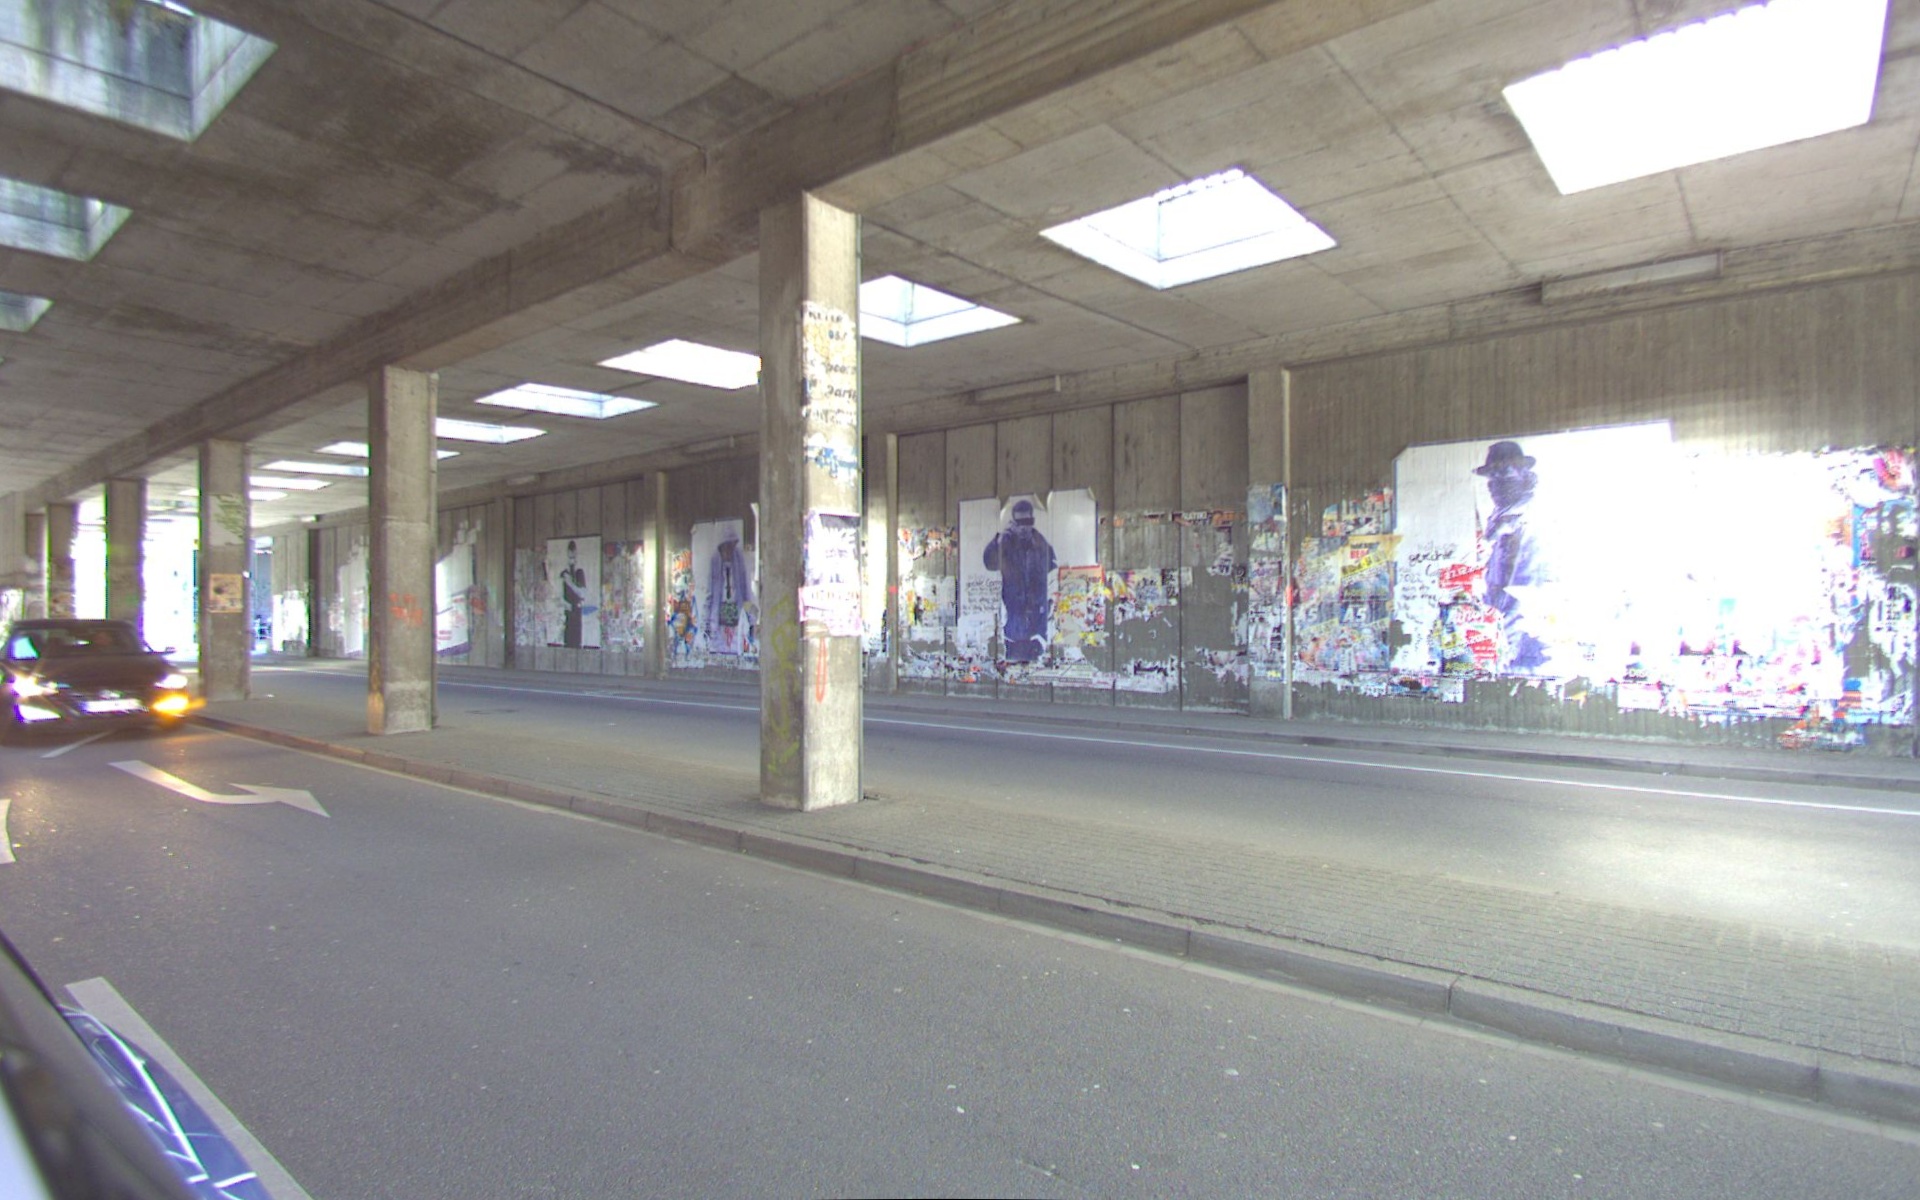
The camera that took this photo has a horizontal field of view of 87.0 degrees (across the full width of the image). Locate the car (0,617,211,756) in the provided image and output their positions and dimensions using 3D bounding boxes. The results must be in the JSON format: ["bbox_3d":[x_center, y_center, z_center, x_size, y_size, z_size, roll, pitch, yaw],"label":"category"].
[{"bbox_3d":[-11.312,0.987,13.030,4.175,1.458,1.762,-1,0,40],"label":"car"}]
